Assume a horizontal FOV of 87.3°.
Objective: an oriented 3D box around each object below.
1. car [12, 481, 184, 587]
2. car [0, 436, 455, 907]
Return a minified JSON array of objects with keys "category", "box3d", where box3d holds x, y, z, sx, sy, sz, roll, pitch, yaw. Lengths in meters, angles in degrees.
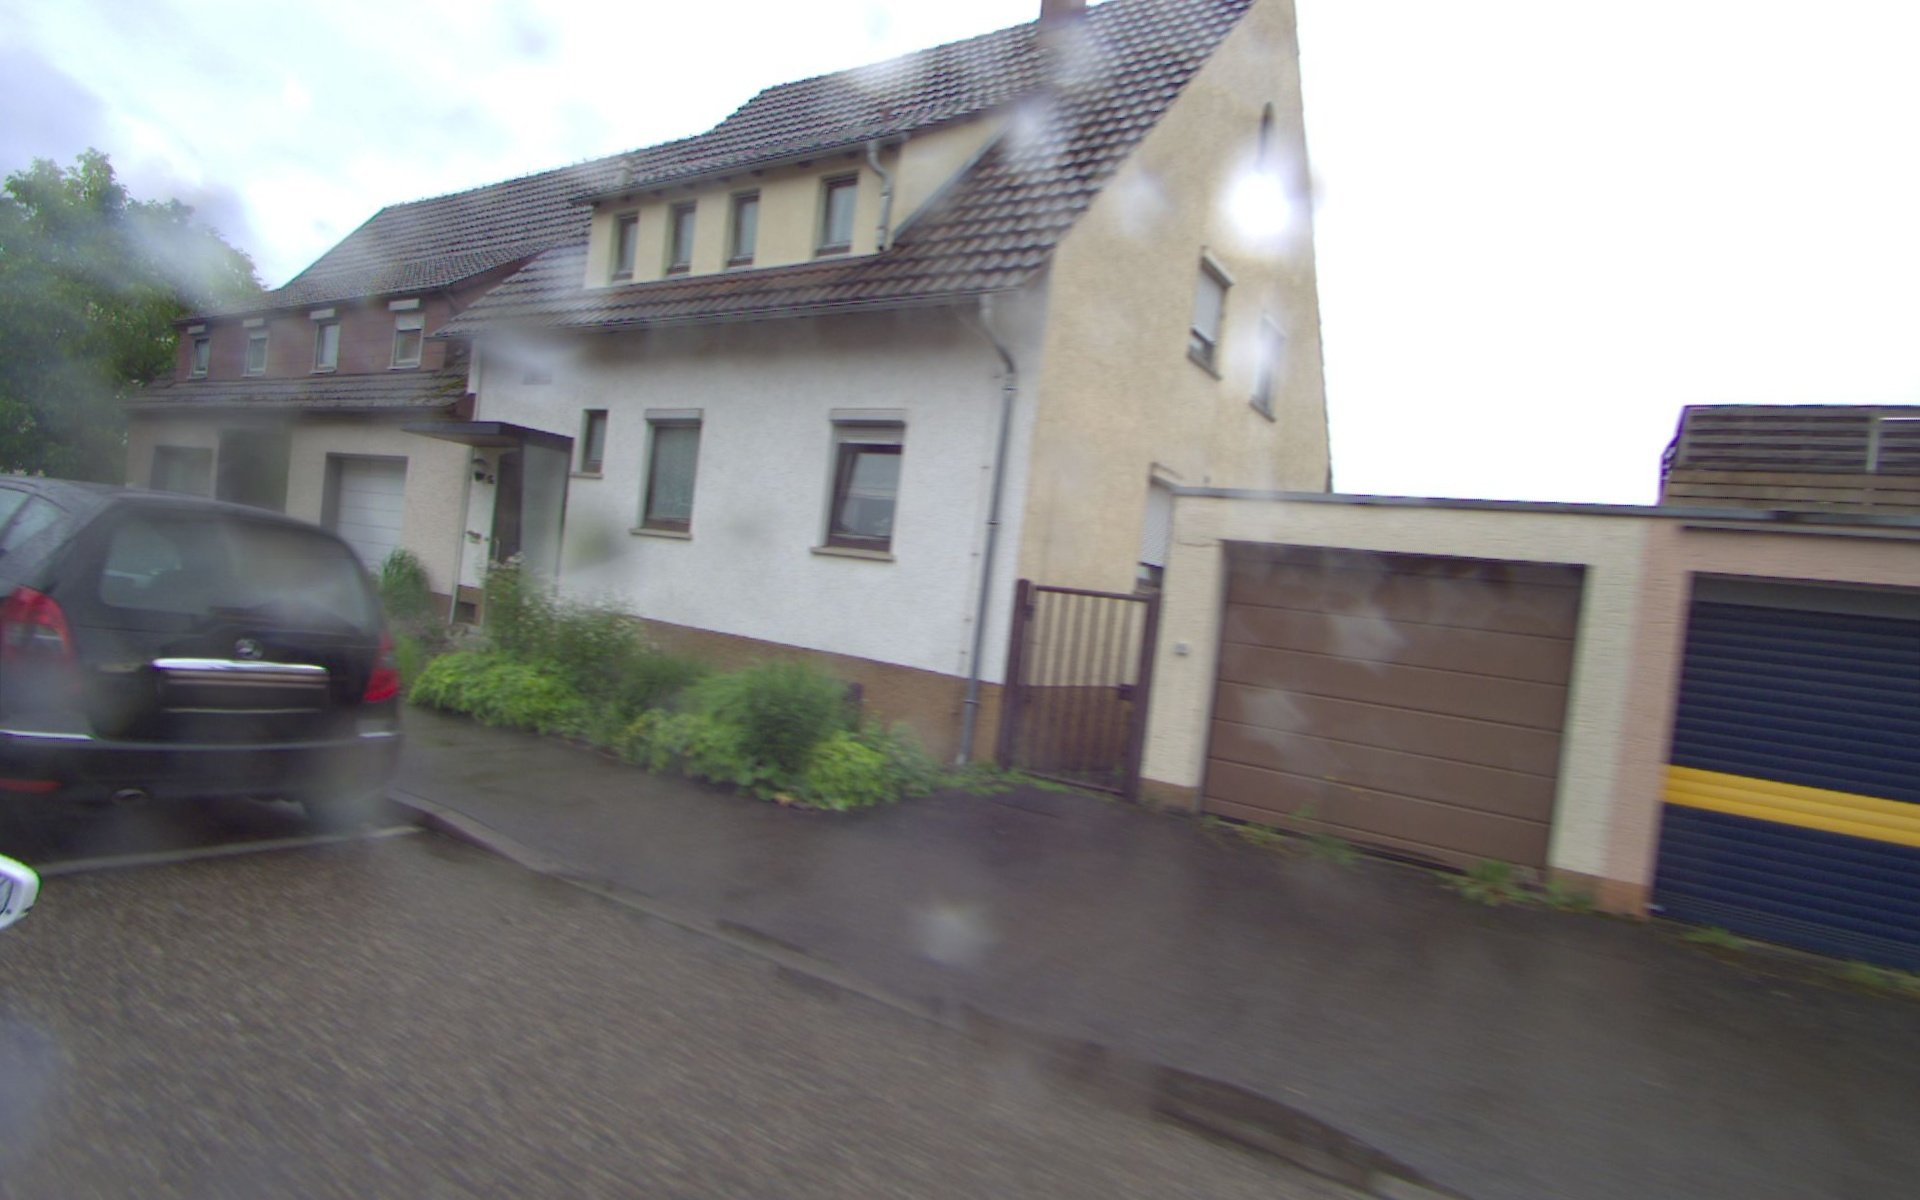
[{"category":"car","box3d":[-13.314,-1.076,15.750,1.746,1.414,3.958,0,5,-37]},{"category":"car","box3d":[-4.763,0.140,5.392,3.934,1.731,1.751,7,0,32]}]
